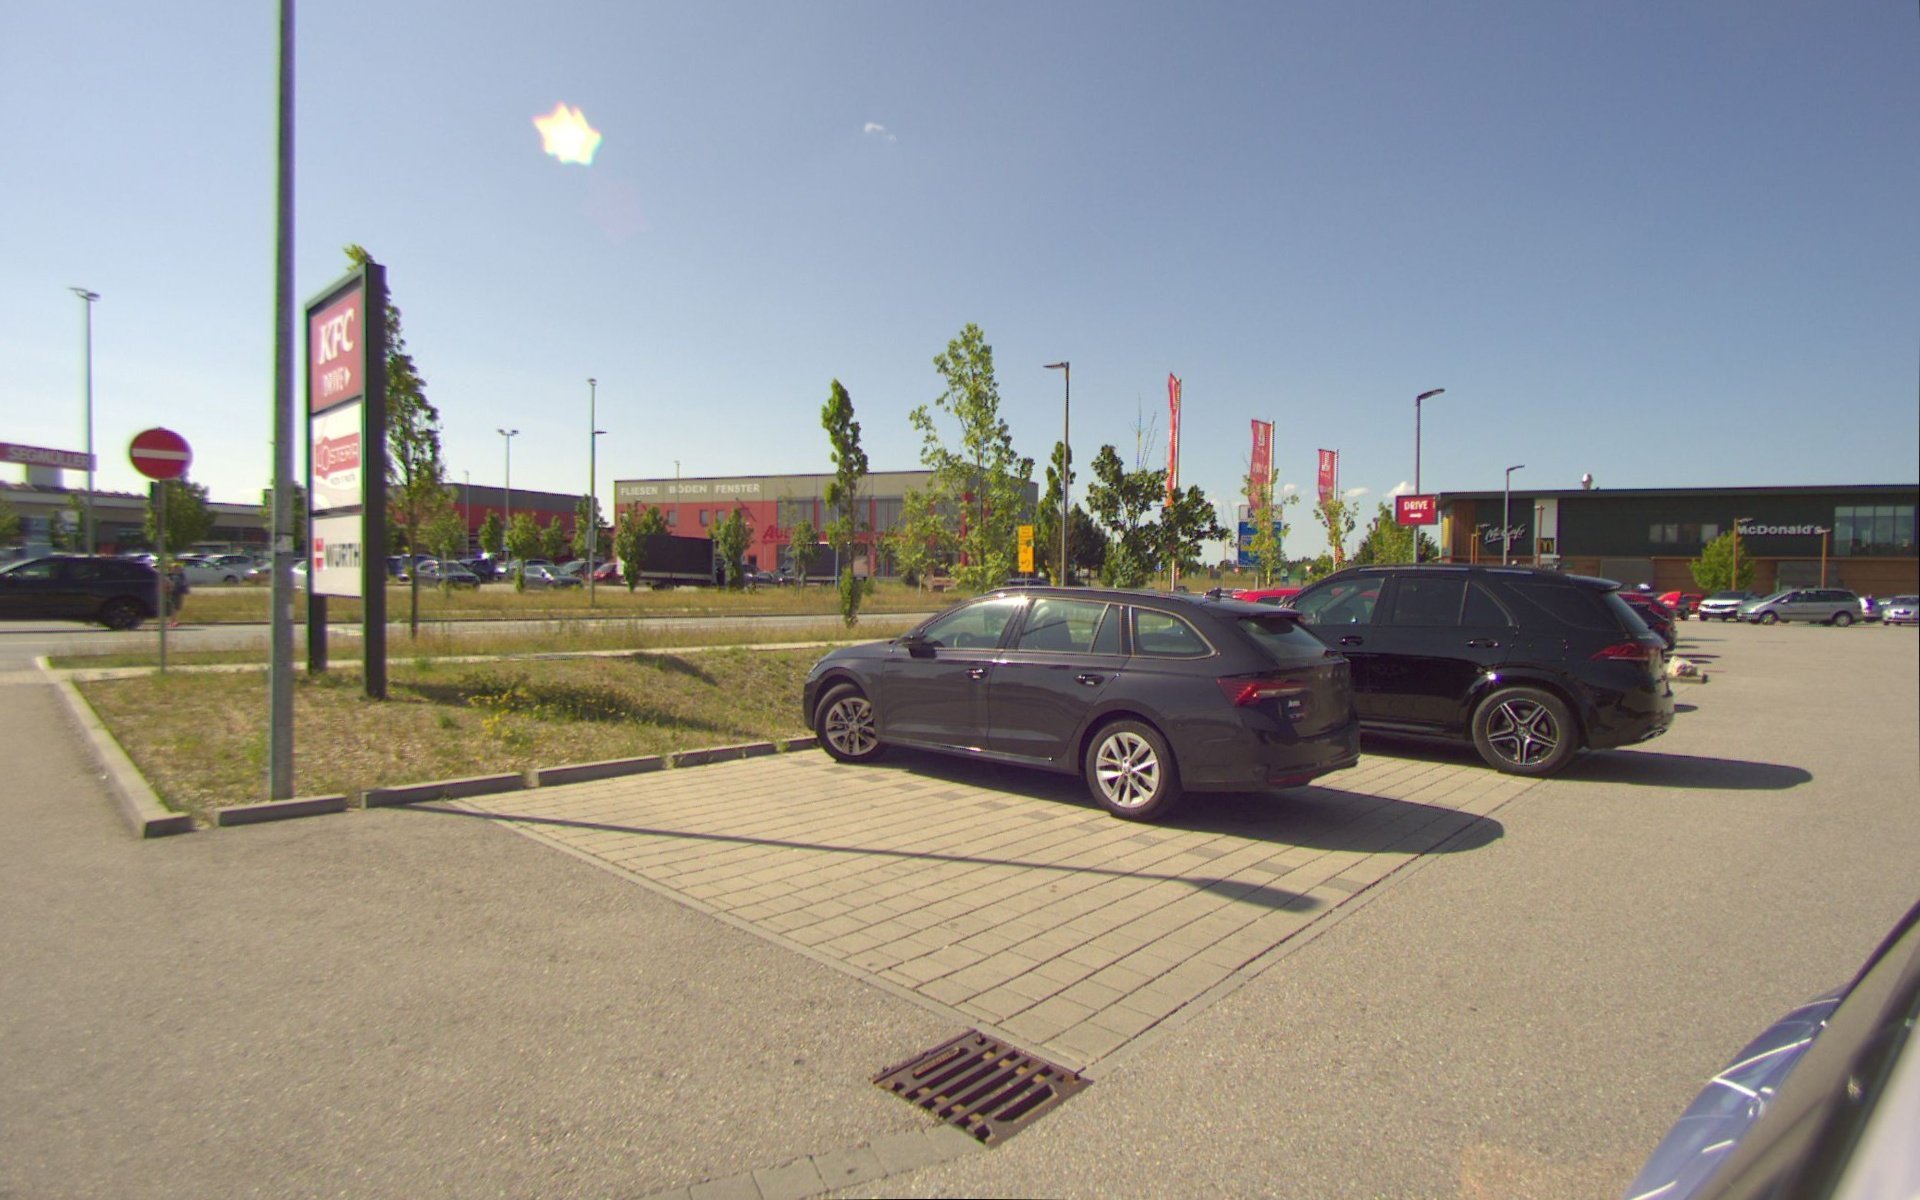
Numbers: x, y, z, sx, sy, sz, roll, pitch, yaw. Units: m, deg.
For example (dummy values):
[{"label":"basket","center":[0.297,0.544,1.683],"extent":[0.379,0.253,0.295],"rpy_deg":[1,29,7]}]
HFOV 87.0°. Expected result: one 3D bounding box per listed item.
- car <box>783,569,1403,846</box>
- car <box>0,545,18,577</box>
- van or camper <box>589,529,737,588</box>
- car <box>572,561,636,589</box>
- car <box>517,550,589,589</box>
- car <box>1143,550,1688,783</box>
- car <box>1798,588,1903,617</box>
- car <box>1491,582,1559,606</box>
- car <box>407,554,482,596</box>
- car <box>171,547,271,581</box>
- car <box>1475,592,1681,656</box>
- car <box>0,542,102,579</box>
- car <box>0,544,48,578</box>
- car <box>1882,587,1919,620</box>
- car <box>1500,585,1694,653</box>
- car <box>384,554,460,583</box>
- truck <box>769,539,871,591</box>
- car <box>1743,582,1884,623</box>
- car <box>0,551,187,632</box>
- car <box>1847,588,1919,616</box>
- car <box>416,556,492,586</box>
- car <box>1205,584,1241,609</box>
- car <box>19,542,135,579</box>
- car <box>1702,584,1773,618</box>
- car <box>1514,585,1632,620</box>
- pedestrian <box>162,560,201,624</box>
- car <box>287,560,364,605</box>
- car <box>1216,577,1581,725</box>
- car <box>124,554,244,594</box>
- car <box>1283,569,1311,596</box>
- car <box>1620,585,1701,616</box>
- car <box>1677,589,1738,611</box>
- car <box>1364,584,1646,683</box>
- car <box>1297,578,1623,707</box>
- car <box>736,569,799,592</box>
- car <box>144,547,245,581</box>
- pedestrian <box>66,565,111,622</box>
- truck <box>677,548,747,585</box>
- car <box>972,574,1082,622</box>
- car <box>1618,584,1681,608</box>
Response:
[{"label":"car","center":[0.815,0.560,7.798],"extent":[4.434,1.505,1.851],"rpy_deg":[2,1,39]},{"label":"car","center":[-57.856,-2.315,58.671],"extent":[1.930,1.879,4.378],"rpy_deg":[1,1,19]},{"label":"van or camper","center":[-17.149,-2.332,58.813],"extent":[7.902,3.140,2.419],"rpy_deg":[0,1,-35]},{"label":"car","center":[-24.566,-1.699,69.994],"extent":[1.847,1.879,4.238],"rpy_deg":[1,1,21]},{"label":"car","center":[-21.022,-1.571,52.178],"extent":[1.924,1.879,4.393],"rpy_deg":[0,1,-45]},{"label":"car","center":[4.267,0.477,9.911],"extent":[4.567,1.782,1.869],"rpy_deg":[1,1,39]},{"label":"car","center":[49.925,0.126,56.820],"extent":[1.676,1.511,4.123],"rpy_deg":[0,1,-23]},{"label":"car","center":[43.786,-0.457,78.472],"extent":[4.149,1.712,2.001],"rpy_deg":[1,1,-9]},{"label":"car","center":[-24.411,-1.183,47.832],"extent":[1.924,1.879,4.393],"rpy_deg":[0,1,-45]},{"label":"car","center":[-42.932,-2.066,58.903],"extent":[1.932,1.879,4.374],"rpy_deg":[1,1,21]},{"label":"car","center":[15.005,0.534,24.756],"extent":[4.174,1.428,1.754],"rpy_deg":[0,1,32]},{"label":"car","center":[-50.344,-2.147,55.712],"extent":[1.932,1.879,4.374],"rpy_deg":[1,1,21]},{"label":"car","center":[-55.251,-2.259,57.789],"extent":[1.930,1.879,4.378],"rpy_deg":[1,1,19]},{"label":"car","center":[46.481,0.159,49.112],"extent":[4.131,1.545,1.974],"rpy_deg":[0,1,-39]},{"label":"car","center":[16.734,0.428,26.741],"extent":[4.202,1.658,1.927],"rpy_deg":[0,1,34]},{"label":"car","center":[-36.464,-2.114,68.700],"extent":[1.932,1.879,4.374],"rpy_deg":[1,1,21]},{"label":"truck","center":[-9.800,-2.432,70.696],"extent":[6.767,3.524,2.742],"rpy_deg":[1,1,27]},{"label":"car","center":[39.551,0.081,47.053],"extent":[4.627,1.770,1.820],"rpy_deg":[1,1,21]},{"label":"car","center":[-19.767,-0.197,21.701],"extent":[1.989,1.645,4.742],"rpy_deg":[1,1,37]},{"label":"car","center":[52.556,0.097,56.563],"extent":[1.775,1.534,4.123],"rpy_deg":[0,1,-23]},{"label":"car","center":[-33.725,-1.917,67.606],"extent":[1.932,1.879,4.374],"rpy_deg":[1,1,21]},{"label":"car","center":[19.169,-0.253,73.648],"extent":[2.005,1.739,4.270],"rpy_deg":[1,1,22]},{"label":"car","center":[-47.987,-2.098,55.094],"extent":[1.932,1.879,4.374],"rpy_deg":[1,1,21]},{"label":"car","center":[39.950,0.031,51.986],"extent":[4.131,1.675,1.974],"rpy_deg":[0,1,-39]},{"label":"car","center":[27.713,0.092,45.941],"extent":[4.440,1.487,1.815],"rpy_deg":[0,1,29]},{"label":"pedestrian","center":[-20.233,-0.212,26.308],"extent":[0.744,1.620,0.691],"rpy_deg":[1,0,-43]},{"label":"car","center":[-27.660,-0.763,44.050],"extent":[1.968,1.879,4.274],"rpy_deg":[0,1,-45]},{"label":"car","center":[5.610,0.544,13.136],"extent":[4.057,1.629,1.871],"rpy_deg":[0,0,36]},{"label":"car","center":[-38.444,-1.269,50.243],"extent":[1.932,1.879,4.374],"rpy_deg":[1,1,21]},{"label":"car","center":[28.924,-1.499,86.818],"extent":[1.977,2.224,5.068],"rpy_deg":[1,1,22]},{"label":"car","center":[36.825,0.013,53.178],"extent":[4.124,1.545,1.977],"rpy_deg":[1,1,-32]},{"label":"car","center":[52.226,-0.015,70.668],"extent":[4.379,1.484,1.964],"rpy_deg":[1,1,-32]},{"label":"car","center":[10.199,0.529,19.136],"extent":[4.432,1.658,1.867],"rpy_deg":[1,1,41]},{"label":"car","center":[7.593,0.542,15.511],"extent":[4.303,1.724,1.873],"rpy_deg":[0,1,34]},{"label":"car","center":[-12.822,-1.317,67.287],"extent":[3.927,1.478,1.640],"rpy_deg":[1,1,27]},{"label":"car","center":[-45.099,-2.114,59.730],"extent":[1.932,1.879,4.374],"rpy_deg":[1,1,21]},{"label":"pedestrian","center":[-22.123,-0.169,25.684],"extent":[0.860,1.415,0.716],"rpy_deg":[0,0,39]},{"label":"truck","center":[-20.283,-2.671,83.307],"extent":[1.932,2.850,7.009],"rpy_deg":[1,1,21]},{"label":"car","center":[2.712,-0.085,39.994],"extent":[1.990,1.754,4.691],"rpy_deg":[1,1,39]},{"label":"car","center":[49.140,-0.271,72.112],"extent":[4.377,1.622,1.965],"rpy_deg":[1,1,-29]}]
